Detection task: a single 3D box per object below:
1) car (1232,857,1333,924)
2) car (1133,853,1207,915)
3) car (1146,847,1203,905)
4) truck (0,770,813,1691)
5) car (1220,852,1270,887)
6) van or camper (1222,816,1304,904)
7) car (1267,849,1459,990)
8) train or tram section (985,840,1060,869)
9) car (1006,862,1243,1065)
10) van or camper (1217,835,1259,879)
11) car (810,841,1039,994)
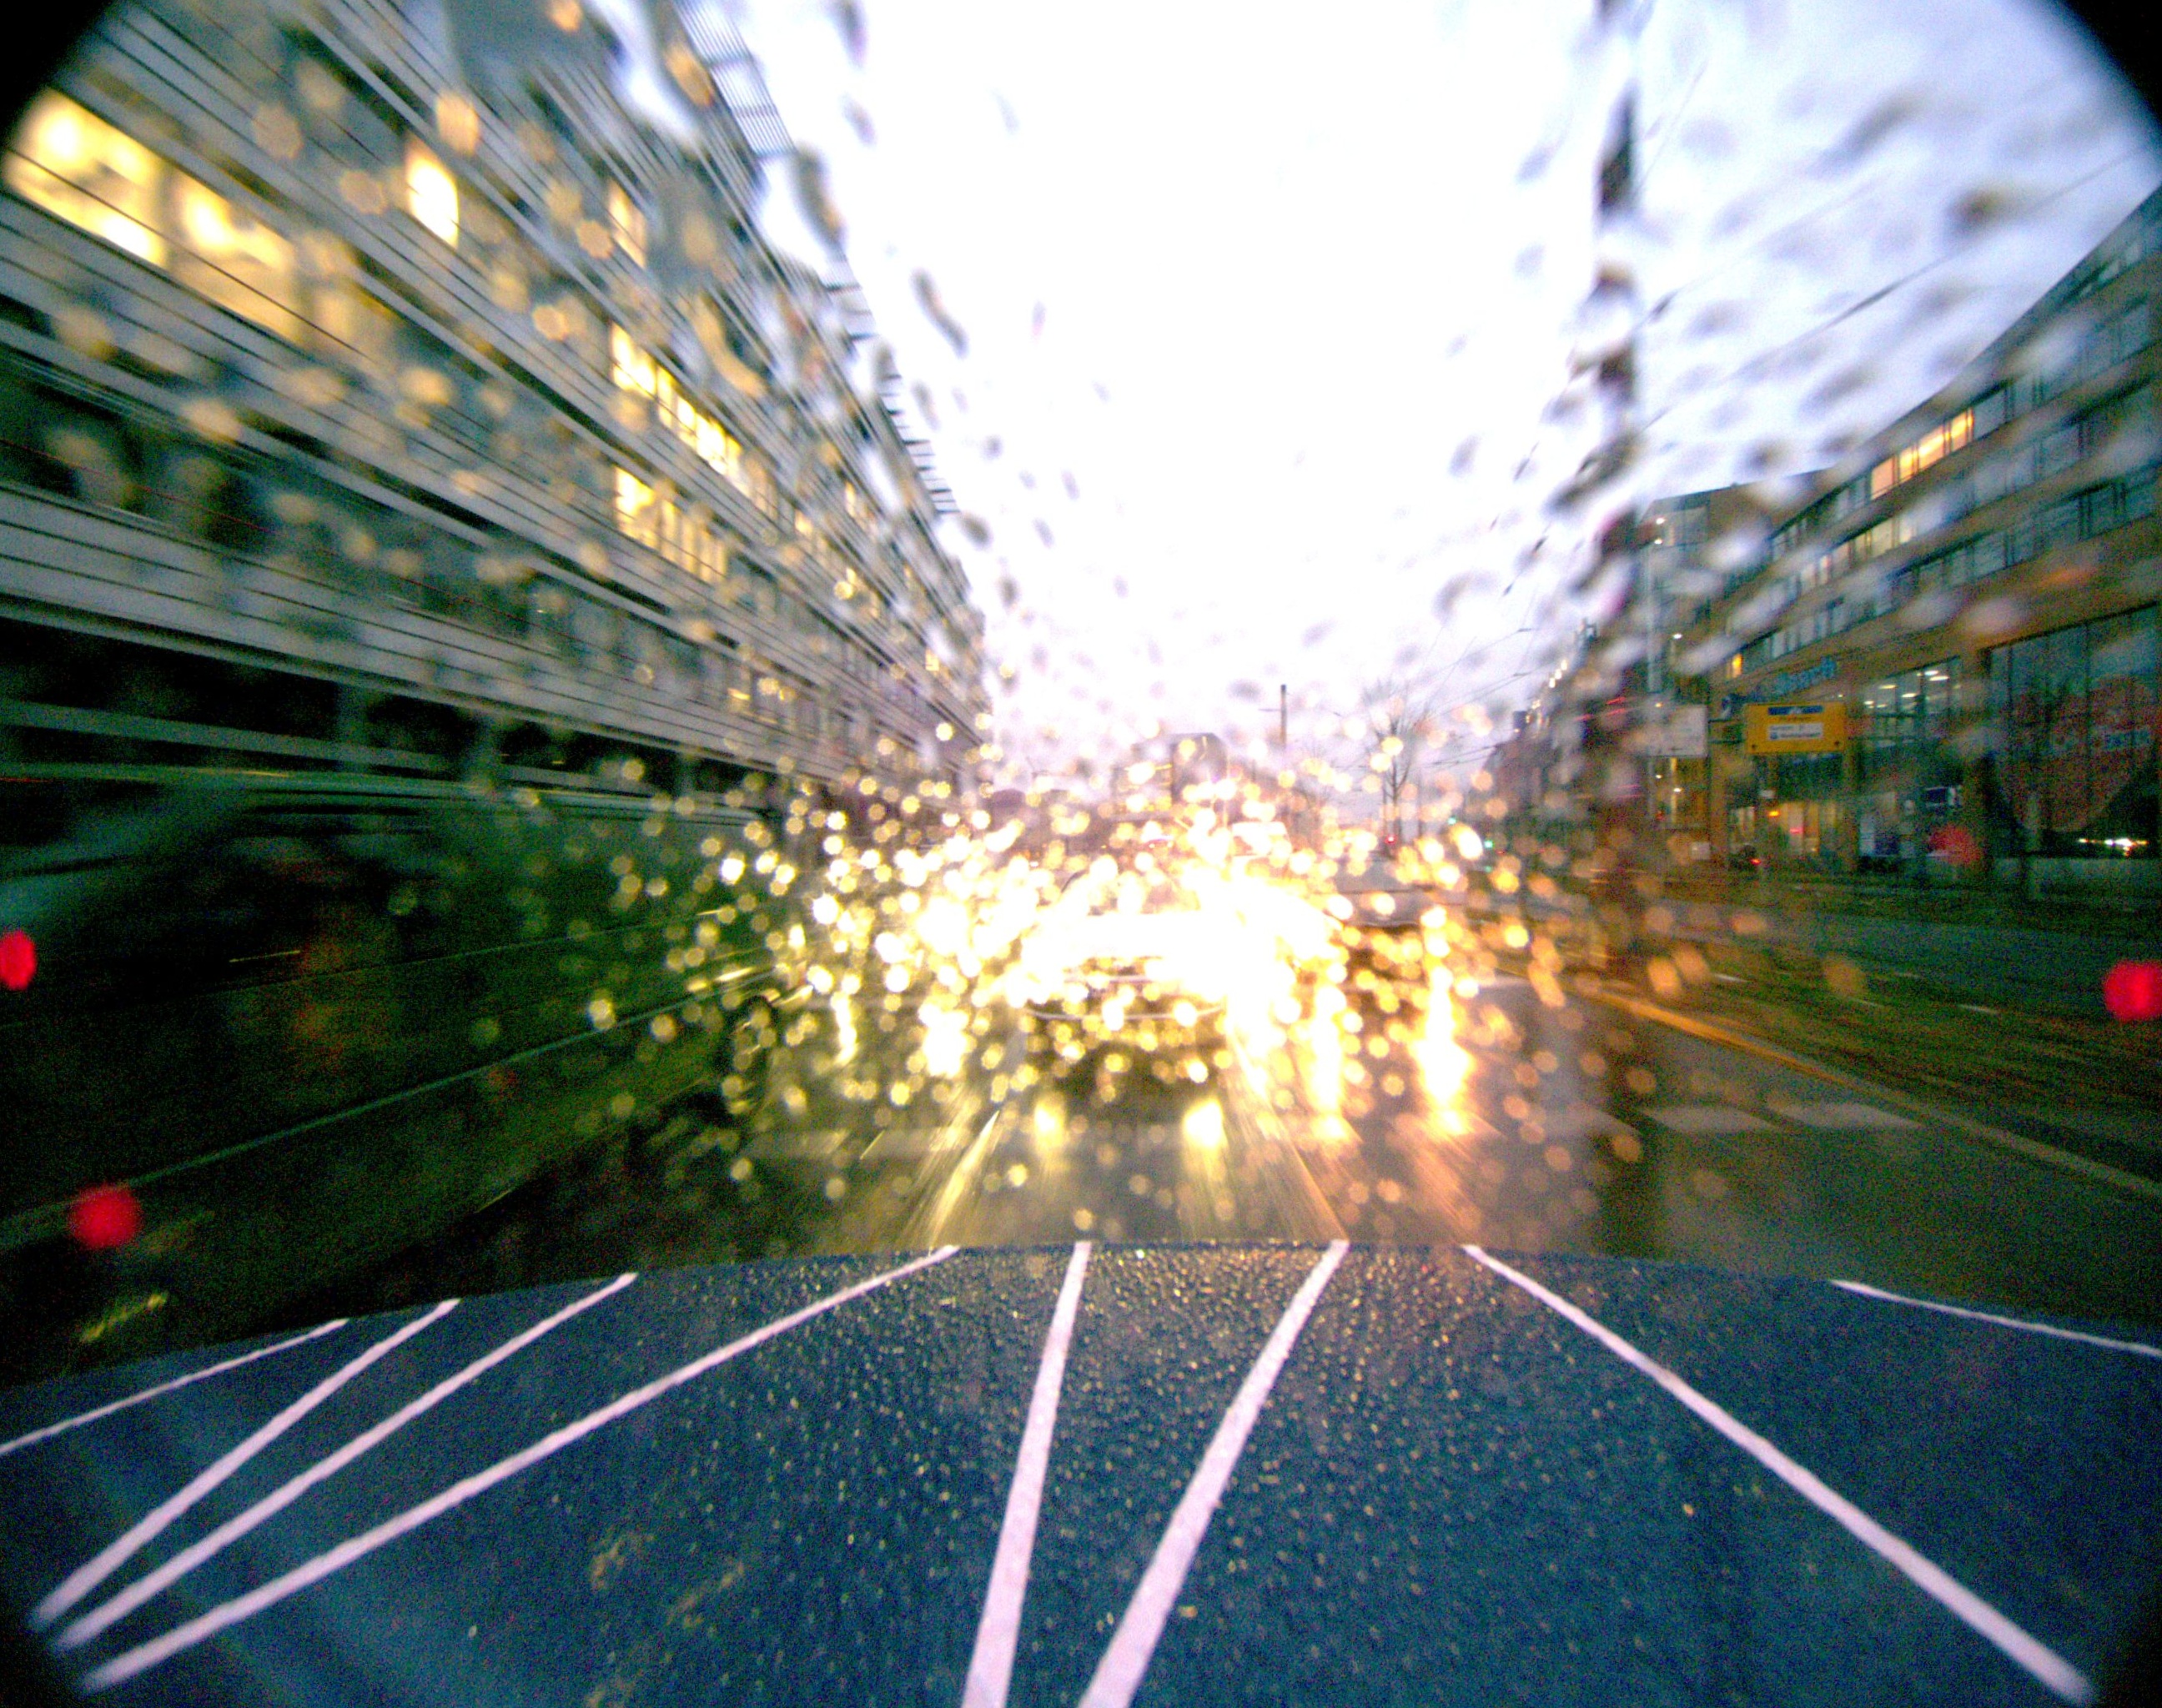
[{"bbox_3d":[4.770,0.804,18.549,1.823,1.324,4.227,-3,0,8],"label":"car"},{"bbox_3d":[2.394,0.724,20.649,1.773,1.449,4.223,-1,1,6],"label":"car"},{"bbox_3d":[3.137,0.672,25.413,1.683,1.723,3.716,-3,0,8],"label":"car"},{"bbox_3d":[-3.068,0.808,2.911,1.908,1.906,4.619,-3,0,7],"label":"truck"},{"bbox_3d":[7.274,0.634,34.003,1.823,1.390,3.954,-3,0,8],"label":"car"},{"bbox_3d":[5.973,0.145,25.638,2.060,2.533,5.888,-2,1,8],"label":"van or camper"},{"bbox_3d":[3.612,0.727,10.407,1.683,1.563,3.763,-1,0,8],"label":"car"},{"bbox_3d":[-10.960,0.081,141.452,13.355,4.832,3.744,-2,1,23],"label":"train or tram section"},{"bbox_3d":[0.522,0.883,7.980,1.773,1.449,4.223,-3,0,5],"label":"car"},{"bbox_3d":[9.193,0.134,44.631,2.183,2.339,5.654,-2,0,11],"label":"van or camper"},{"bbox_3d":[-2.058,0.770,11.597,1.908,1.809,4.691,-3,0,7],"label":"car"}]
